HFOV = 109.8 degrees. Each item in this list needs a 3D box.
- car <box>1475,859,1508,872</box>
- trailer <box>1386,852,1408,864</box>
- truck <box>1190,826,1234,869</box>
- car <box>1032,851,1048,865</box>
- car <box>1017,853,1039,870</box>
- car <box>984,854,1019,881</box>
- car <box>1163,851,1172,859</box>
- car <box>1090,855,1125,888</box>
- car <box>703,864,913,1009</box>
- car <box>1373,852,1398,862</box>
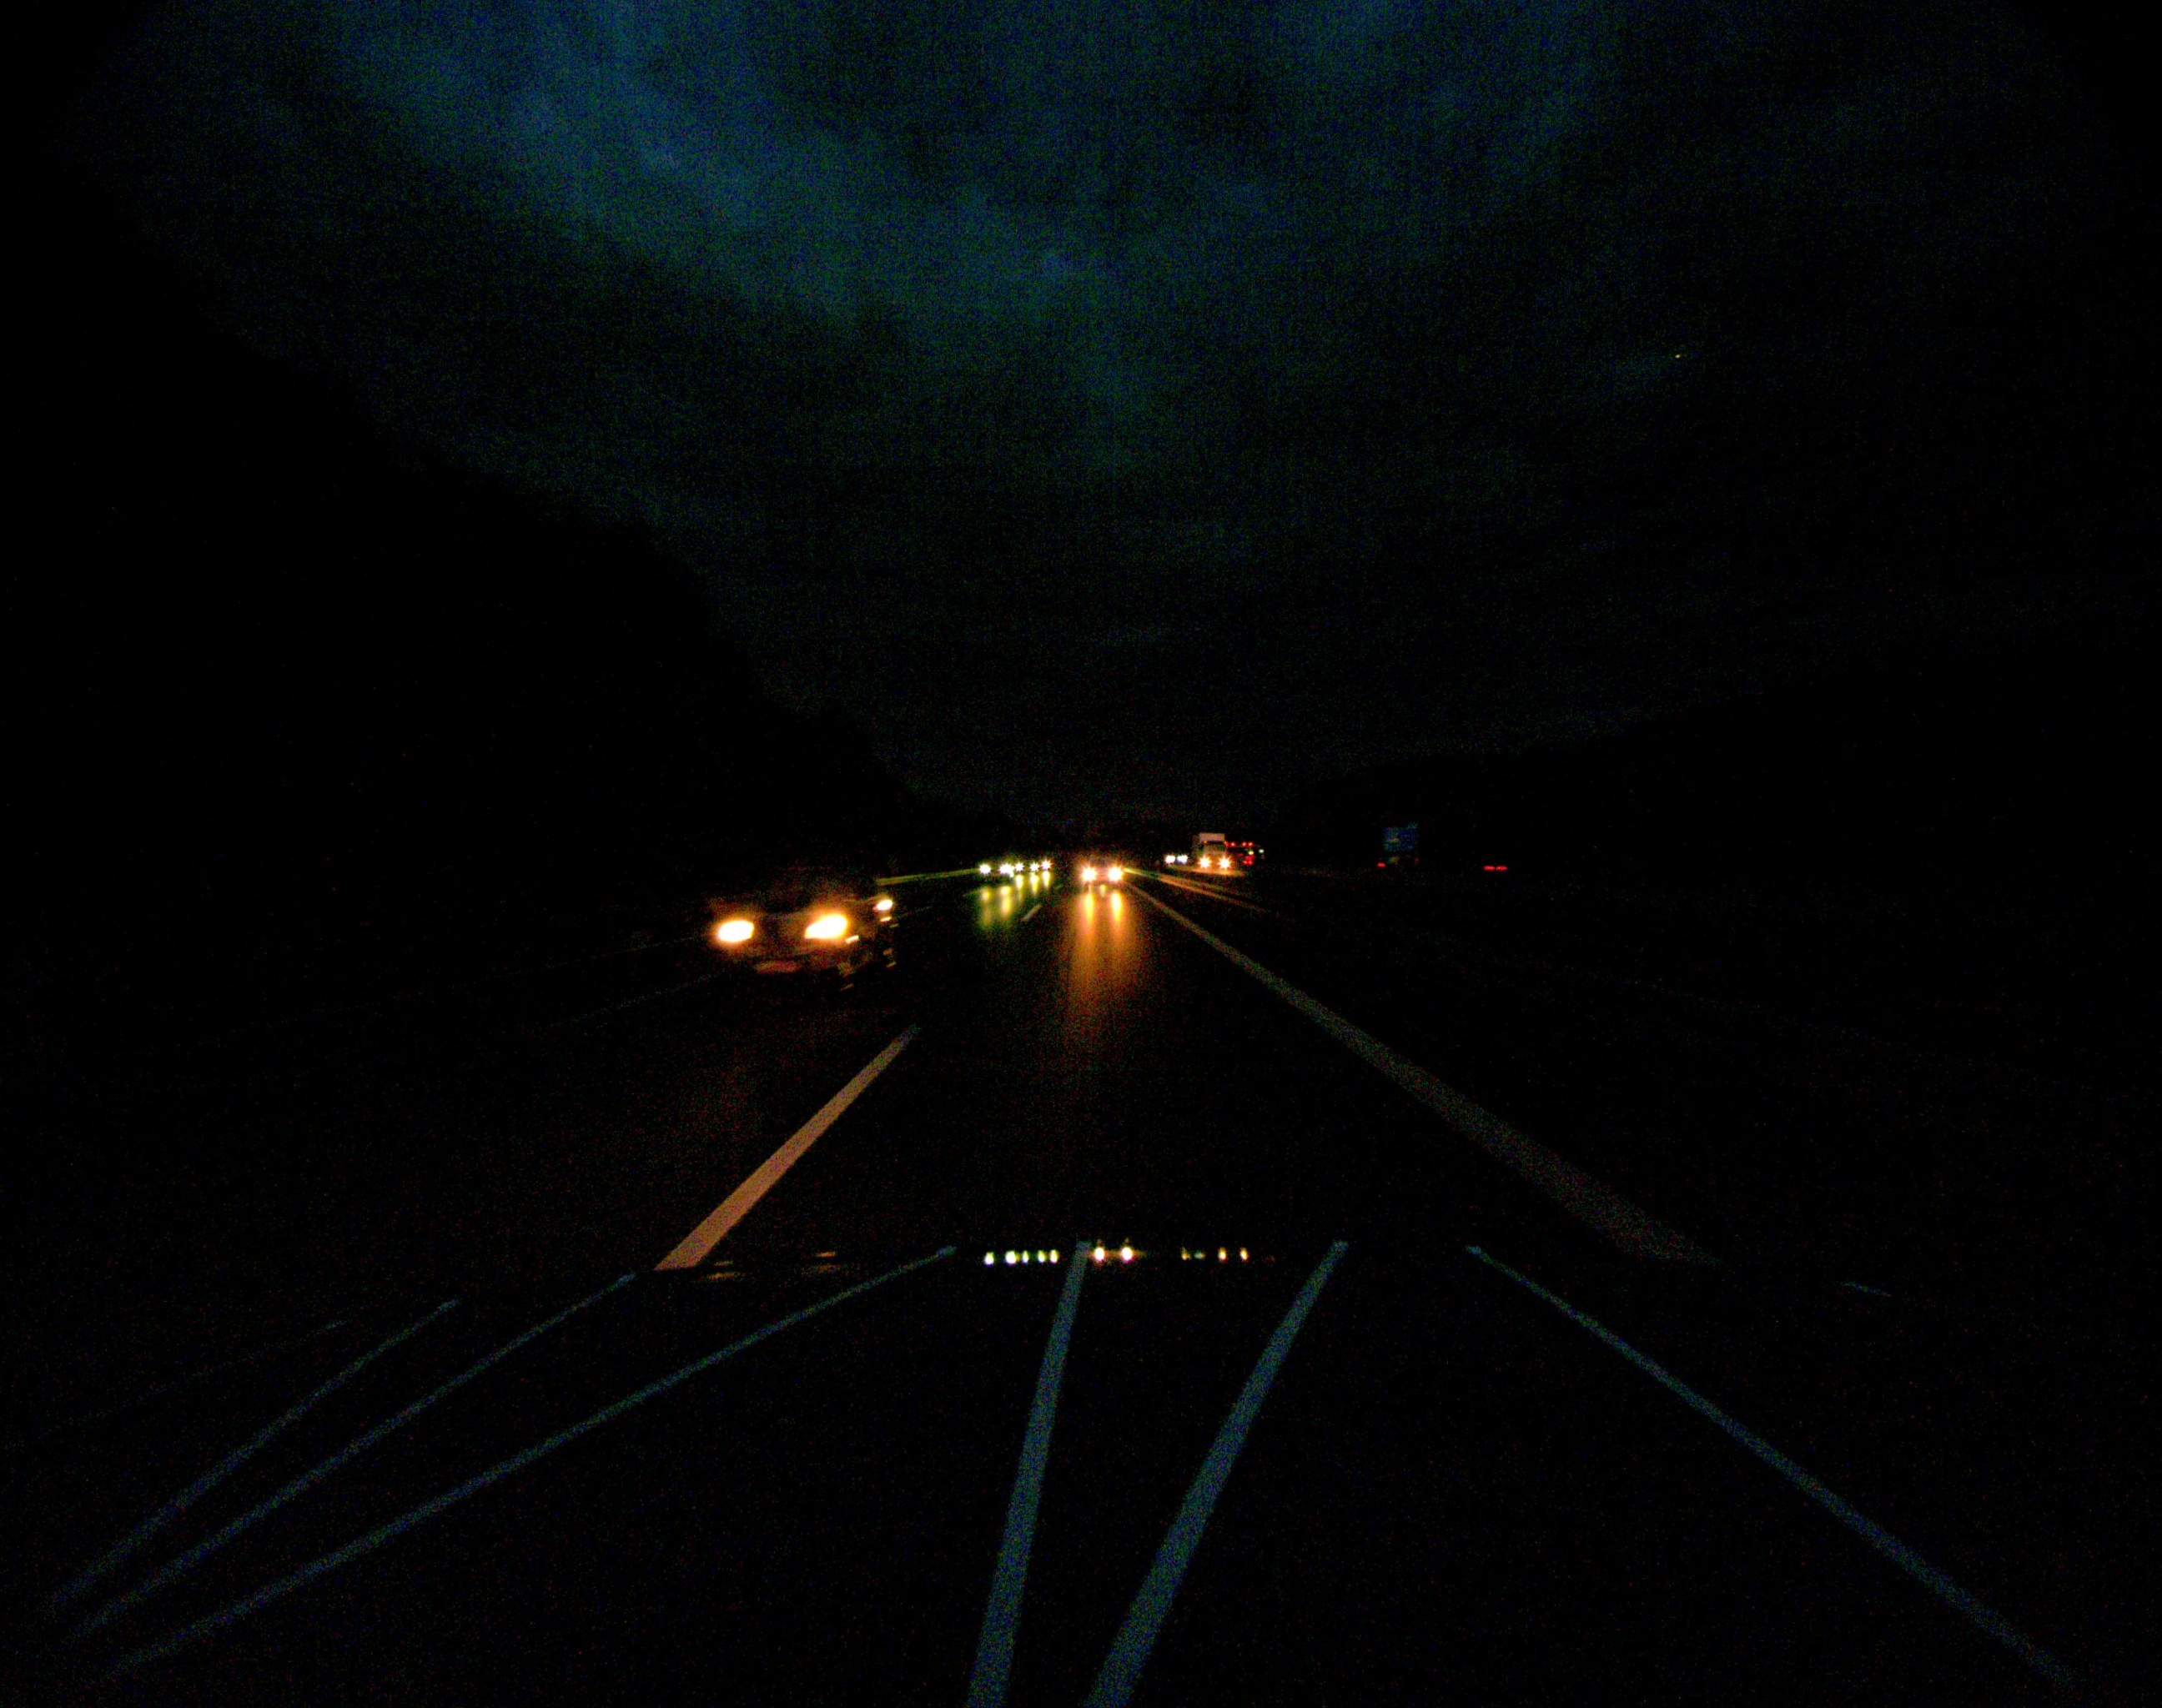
[{"bbox_3d":[51.122,1.438,94.688,1.770,1.586,4.309,0,0,0],"label":"car"},{"bbox_3d":[45.512,0.566,109.541,1.539,1.586,3.599,0,0,-2],"label":"trailer"},{"bbox_3d":[13.937,-0.710,81.568,3.046,4.276,9.890,0,1,0],"label":"truck"},{"bbox_3d":[-4.801,0.446,89.714,1.803,1.483,4.434,-3,0,-2],"label":"car"},{"bbox_3d":[-5.010,0.703,72.681,1.803,1.483,5.116,-3,0,-2],"label":"car"},{"bbox_3d":[-5.299,0.870,51.412,1.802,1.636,5.159,1,0,0],"label":"car"},{"bbox_3d":[19.436,0.266,169.951,1.833,1.674,4.230,-2,1,5],"label":"car"},{"bbox_3d":[1.290,0.860,38.147,1.669,1.551,3.756,0,0,1],"label":"car"},{"bbox_3d":[-3.408,0.942,10.138,1.615,1.547,3.318,0,1,-1],"label":"car"},{"bbox_3d":[45.425,0.432,113.598,1.841,1.434,4.466,0,0,-2],"label":"car"}]
